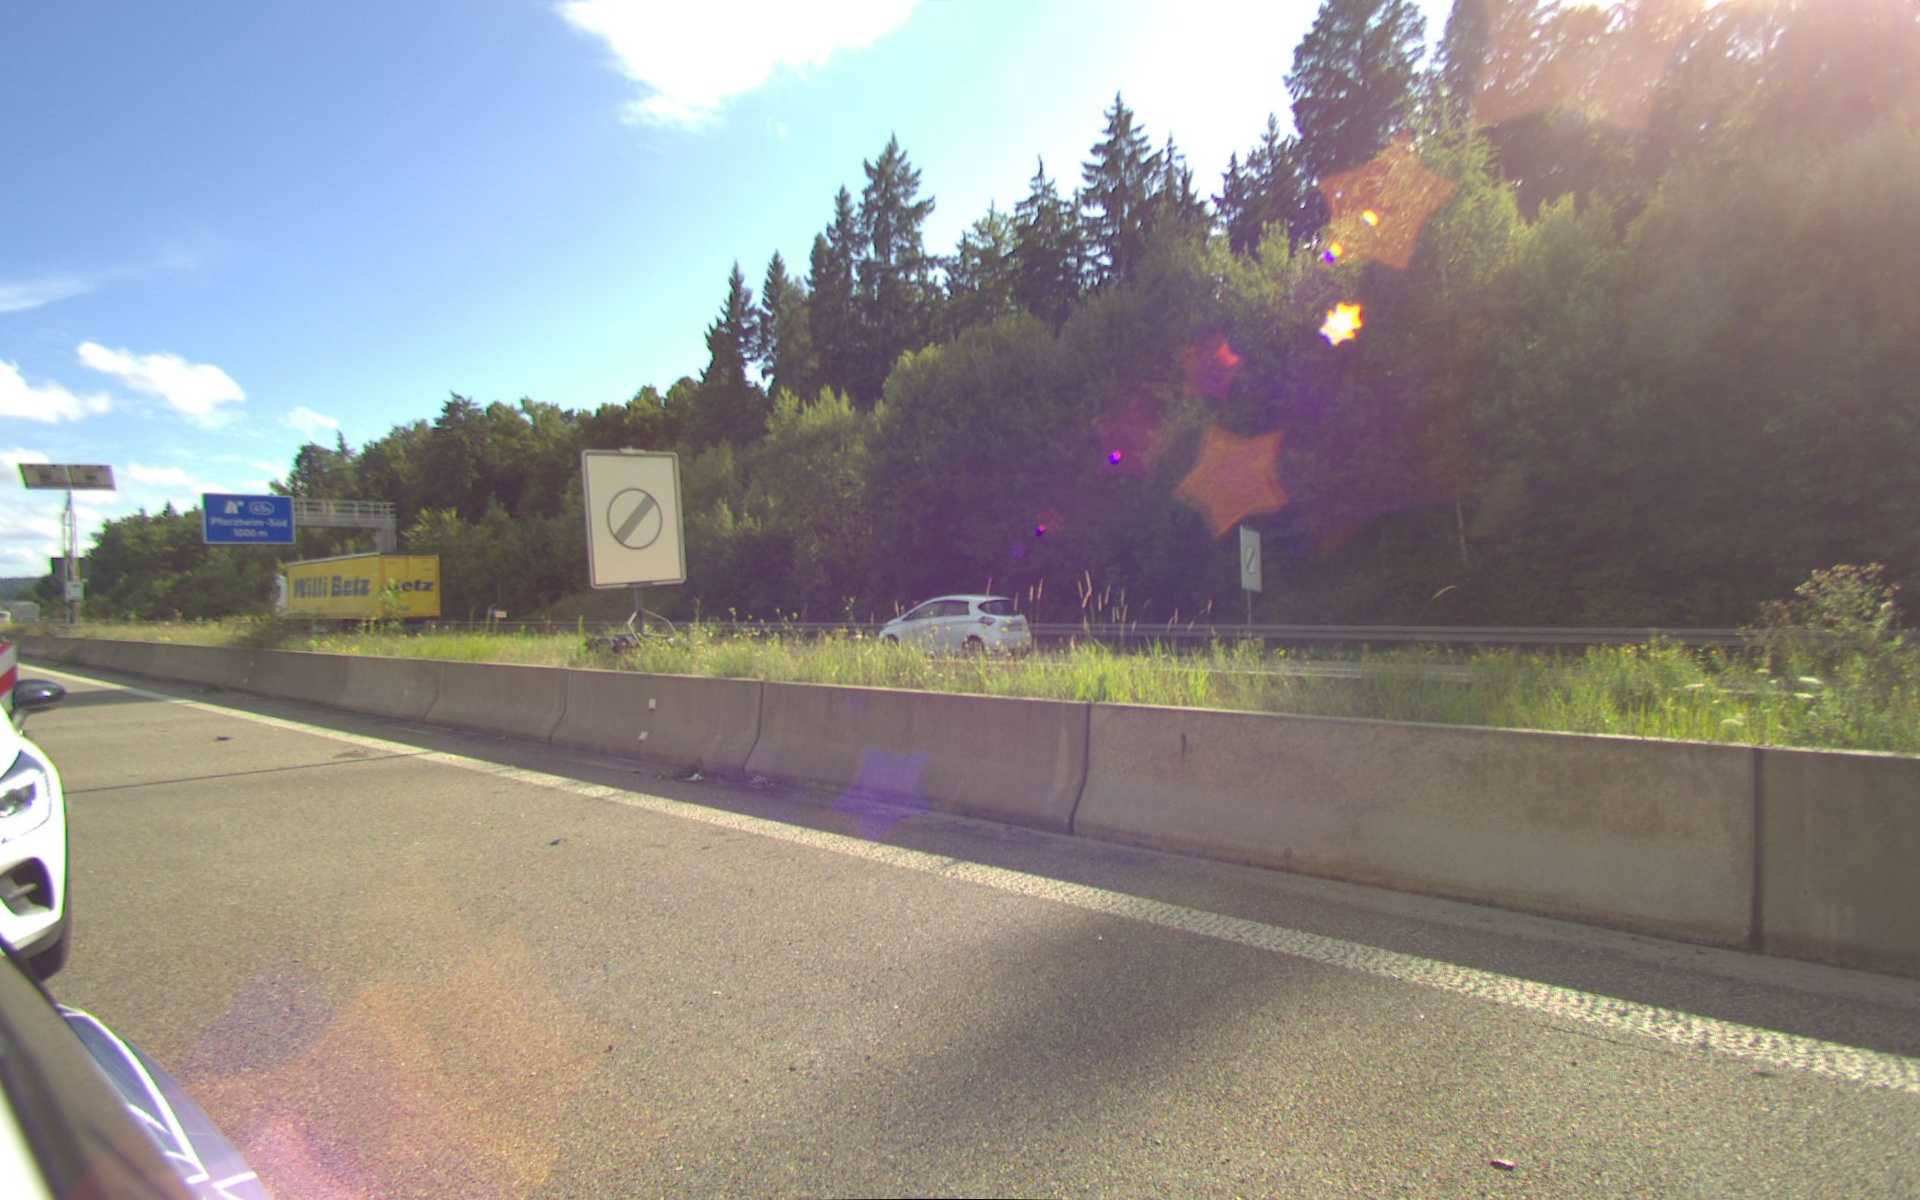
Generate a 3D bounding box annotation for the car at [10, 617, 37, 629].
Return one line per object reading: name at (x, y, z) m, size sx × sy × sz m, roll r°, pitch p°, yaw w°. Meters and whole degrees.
car at (-108.585, 2.666, 117.336) m, size 4.286 × 1.373 × 1.938 m, roll -1°, pitch 0°, yaw 41°

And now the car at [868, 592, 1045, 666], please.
car at (-0.133, 0.636, 23.771) m, size 3.998 × 1.572 × 1.768 m, roll -1°, pitch 0°, yaw 41°

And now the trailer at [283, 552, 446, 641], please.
trailer at (-30.084, -0.101, 50.656) m, size 13.934 × 3.952 × 2.798 m, roll -1°, pitch 0°, yaw 41°

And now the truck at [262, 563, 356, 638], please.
truck at (-35.894, 0.034, 55.762) m, size 5.946 × 3.938 × 2.797 m, roll -1°, pitch 0°, yaw 41°

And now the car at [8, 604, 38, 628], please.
car at (-139.774, 2.359, 150.992) m, size 7.448 × 3.395 × 2.461 m, roll -1°, pitch 0°, yaw 41°

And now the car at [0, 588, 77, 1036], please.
car at (-5.242, 0.756, 4.246) m, size 3.881 × 1.549 × 1.817 m, roll -1°, pitch 0°, yaw 41°

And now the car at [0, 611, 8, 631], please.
car at (-99.697, 2.207, 104.258) m, size 4.829 × 2.029 × 1.973 m, roll -1°, pitch 0°, yaw 41°

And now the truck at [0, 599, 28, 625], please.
truck at (-154.145, 1.941, 164.629) m, size 10.181 × 4.022 × 2.771 m, roll -1°, pitch 0°, yaw 41°
